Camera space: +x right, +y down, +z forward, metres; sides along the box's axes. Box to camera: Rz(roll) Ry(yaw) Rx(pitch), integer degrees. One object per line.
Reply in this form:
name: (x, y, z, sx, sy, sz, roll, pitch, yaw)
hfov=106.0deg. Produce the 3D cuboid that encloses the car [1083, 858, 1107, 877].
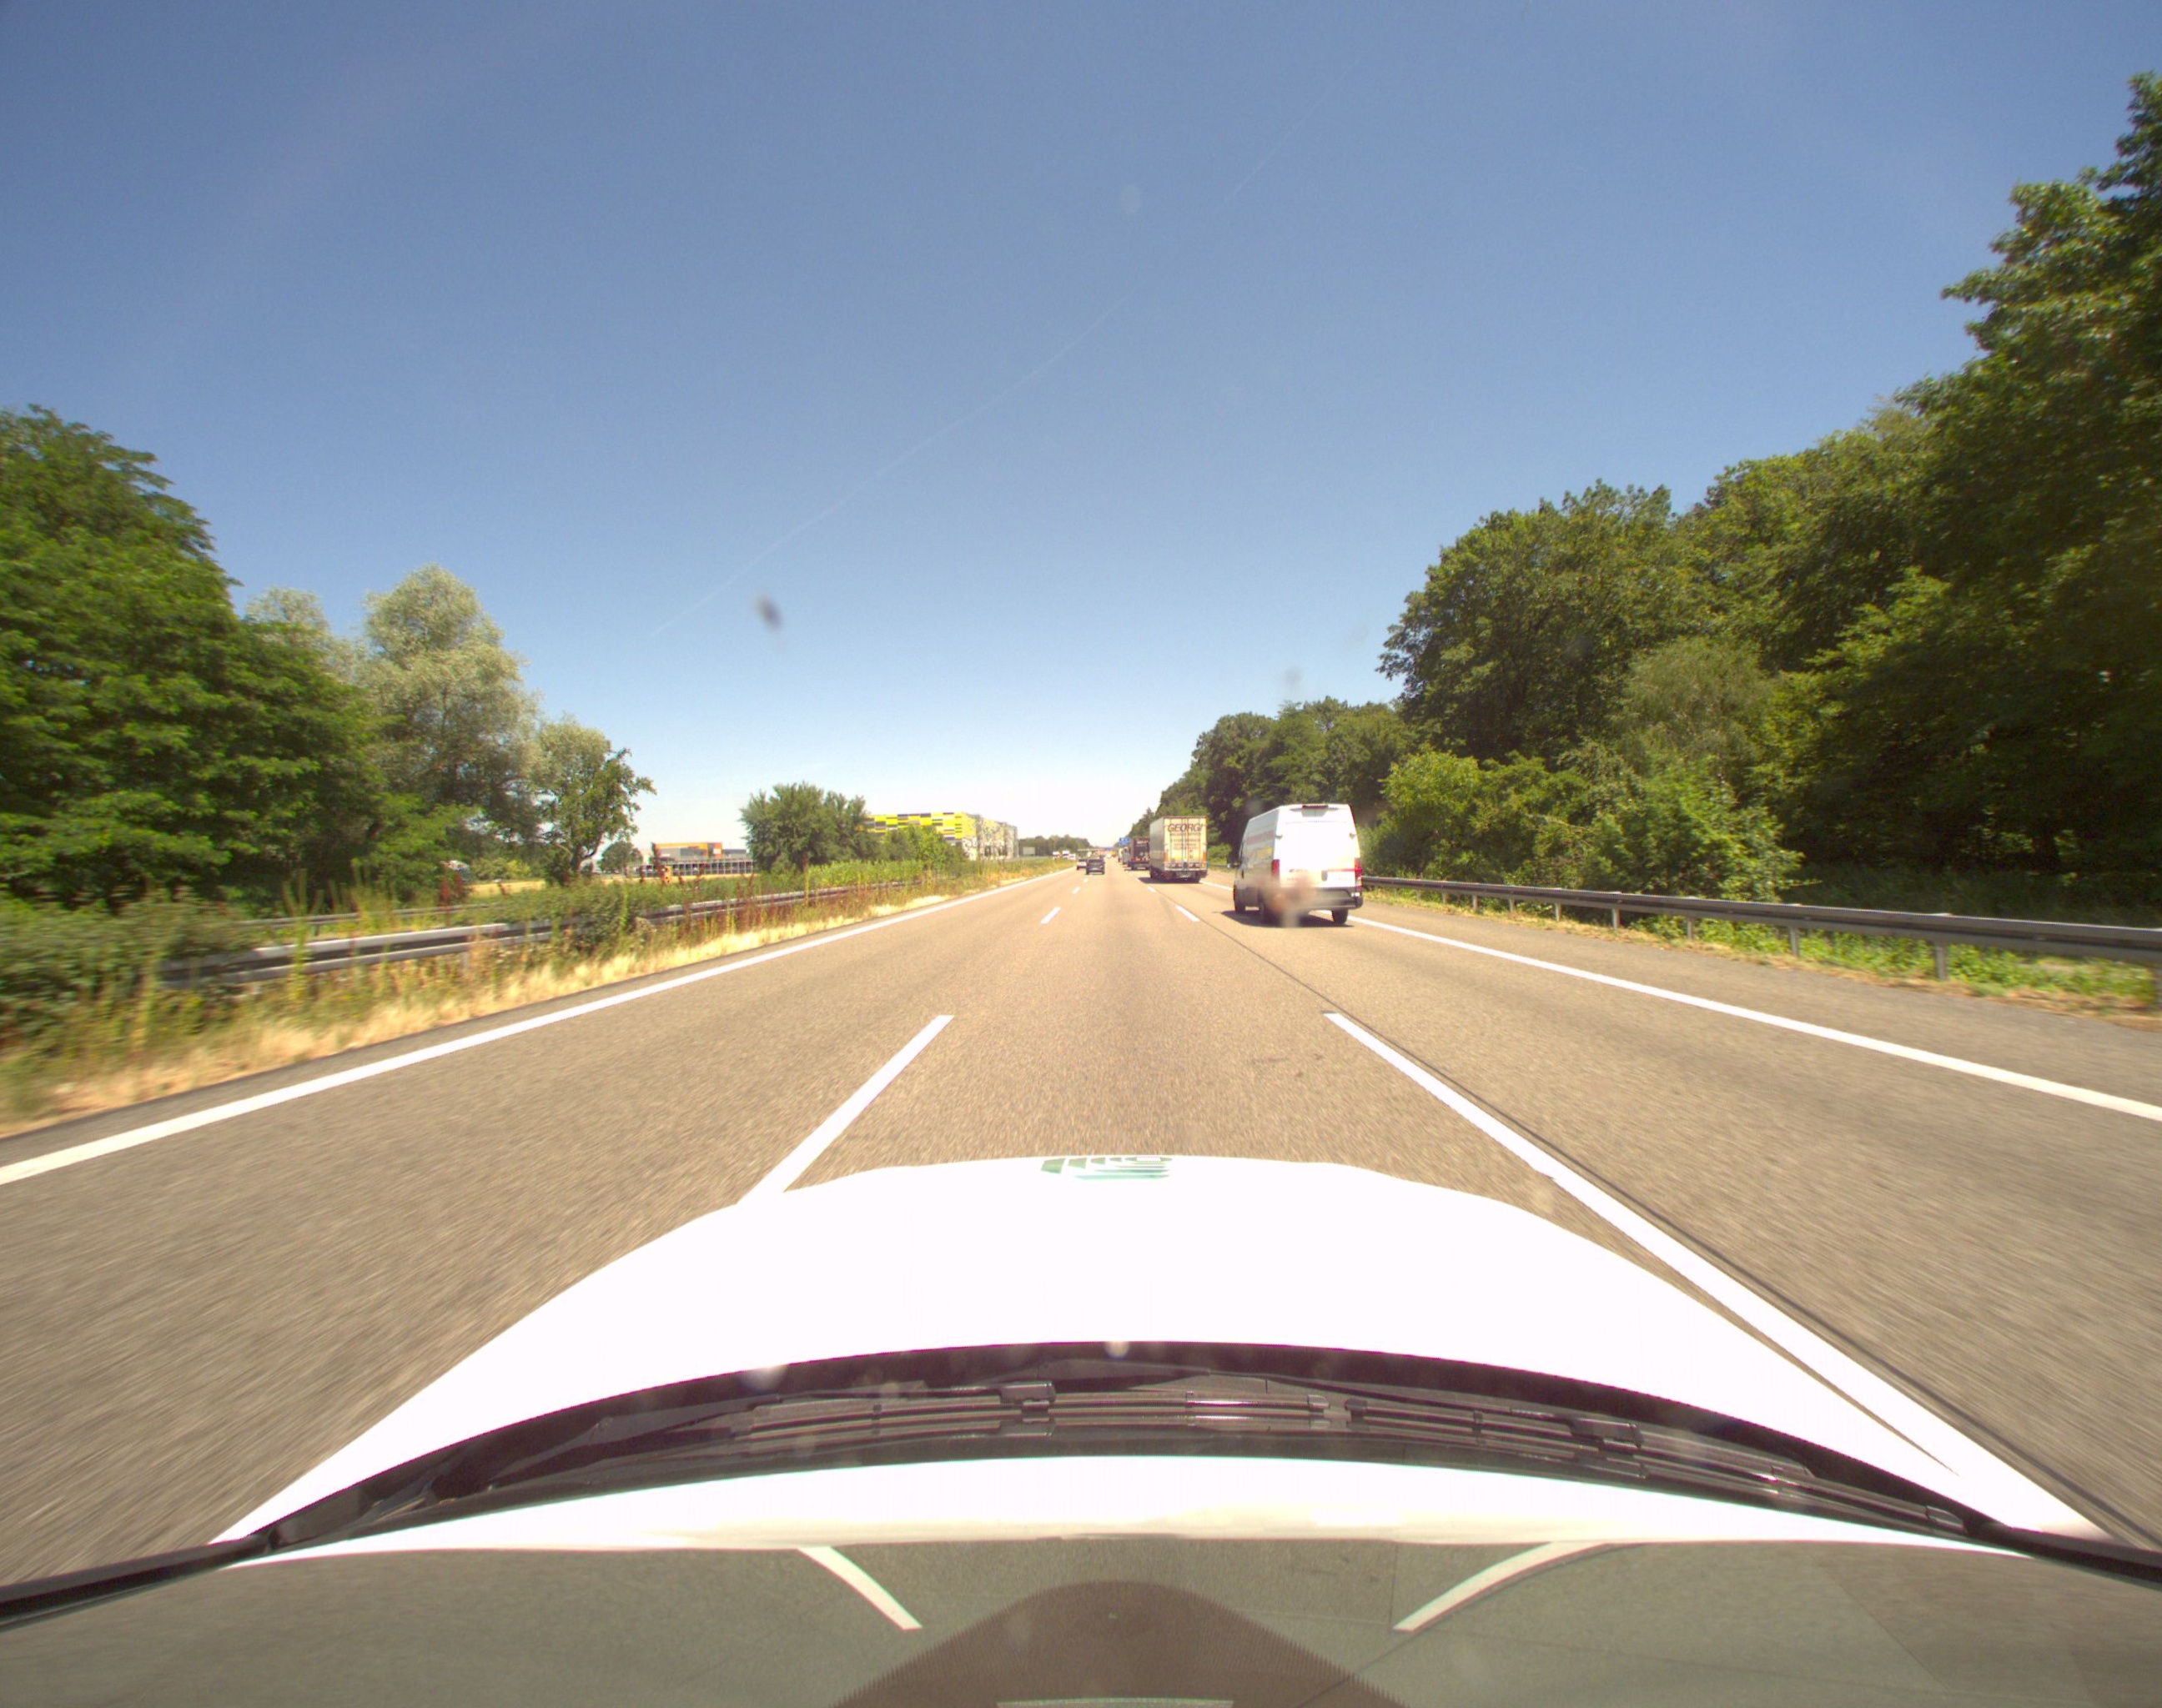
car: (1.417, 1.313, 80.240, 2.208, 1.790, 5.395, -2, 0, 2)

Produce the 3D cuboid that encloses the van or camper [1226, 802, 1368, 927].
van or camper: (5.165, 0.244, 20.563, 2.015, 2.637, 6.489, -1, 0, 1)

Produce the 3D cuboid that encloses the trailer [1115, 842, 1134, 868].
trailer: (7.055, 0.181, 133.957, 2.824, 3.953, 11.687, -1, 0, 2)

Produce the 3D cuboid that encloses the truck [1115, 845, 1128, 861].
truck: (11.512, -0.329, 229.225, 3.409, 4.126, 9.571, -2, 0, 3)

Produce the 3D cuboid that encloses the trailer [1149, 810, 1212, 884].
trailer: (6.375, -0.358, 54.289, 2.982, 4.289, 13.423, 0, 0, 2)

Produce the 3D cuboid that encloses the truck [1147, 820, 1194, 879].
truck: (6.566, -0.265, 60.272, 2.991, 4.125, 5.254, -1, -1, 2)

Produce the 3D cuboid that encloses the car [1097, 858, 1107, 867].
car: (4.154, 1.755, 162.988, 1.934, 1.706, 4.001, -2, 0, 1)

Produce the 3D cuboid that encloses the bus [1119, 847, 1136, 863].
bus: (9.804, 0.248, 172.407, 3.052, 3.326, 8.274, -2, 0, 0)

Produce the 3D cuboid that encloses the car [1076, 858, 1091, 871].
car: (0.358, 1.435, 110.186, 1.986, 1.728, 4.131, -1, 0, 1)

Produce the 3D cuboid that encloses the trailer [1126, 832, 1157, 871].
trailer: (7.482, -0.199, 102.824, 3.095, 4.507, 14.899, -1, 0, 1)
